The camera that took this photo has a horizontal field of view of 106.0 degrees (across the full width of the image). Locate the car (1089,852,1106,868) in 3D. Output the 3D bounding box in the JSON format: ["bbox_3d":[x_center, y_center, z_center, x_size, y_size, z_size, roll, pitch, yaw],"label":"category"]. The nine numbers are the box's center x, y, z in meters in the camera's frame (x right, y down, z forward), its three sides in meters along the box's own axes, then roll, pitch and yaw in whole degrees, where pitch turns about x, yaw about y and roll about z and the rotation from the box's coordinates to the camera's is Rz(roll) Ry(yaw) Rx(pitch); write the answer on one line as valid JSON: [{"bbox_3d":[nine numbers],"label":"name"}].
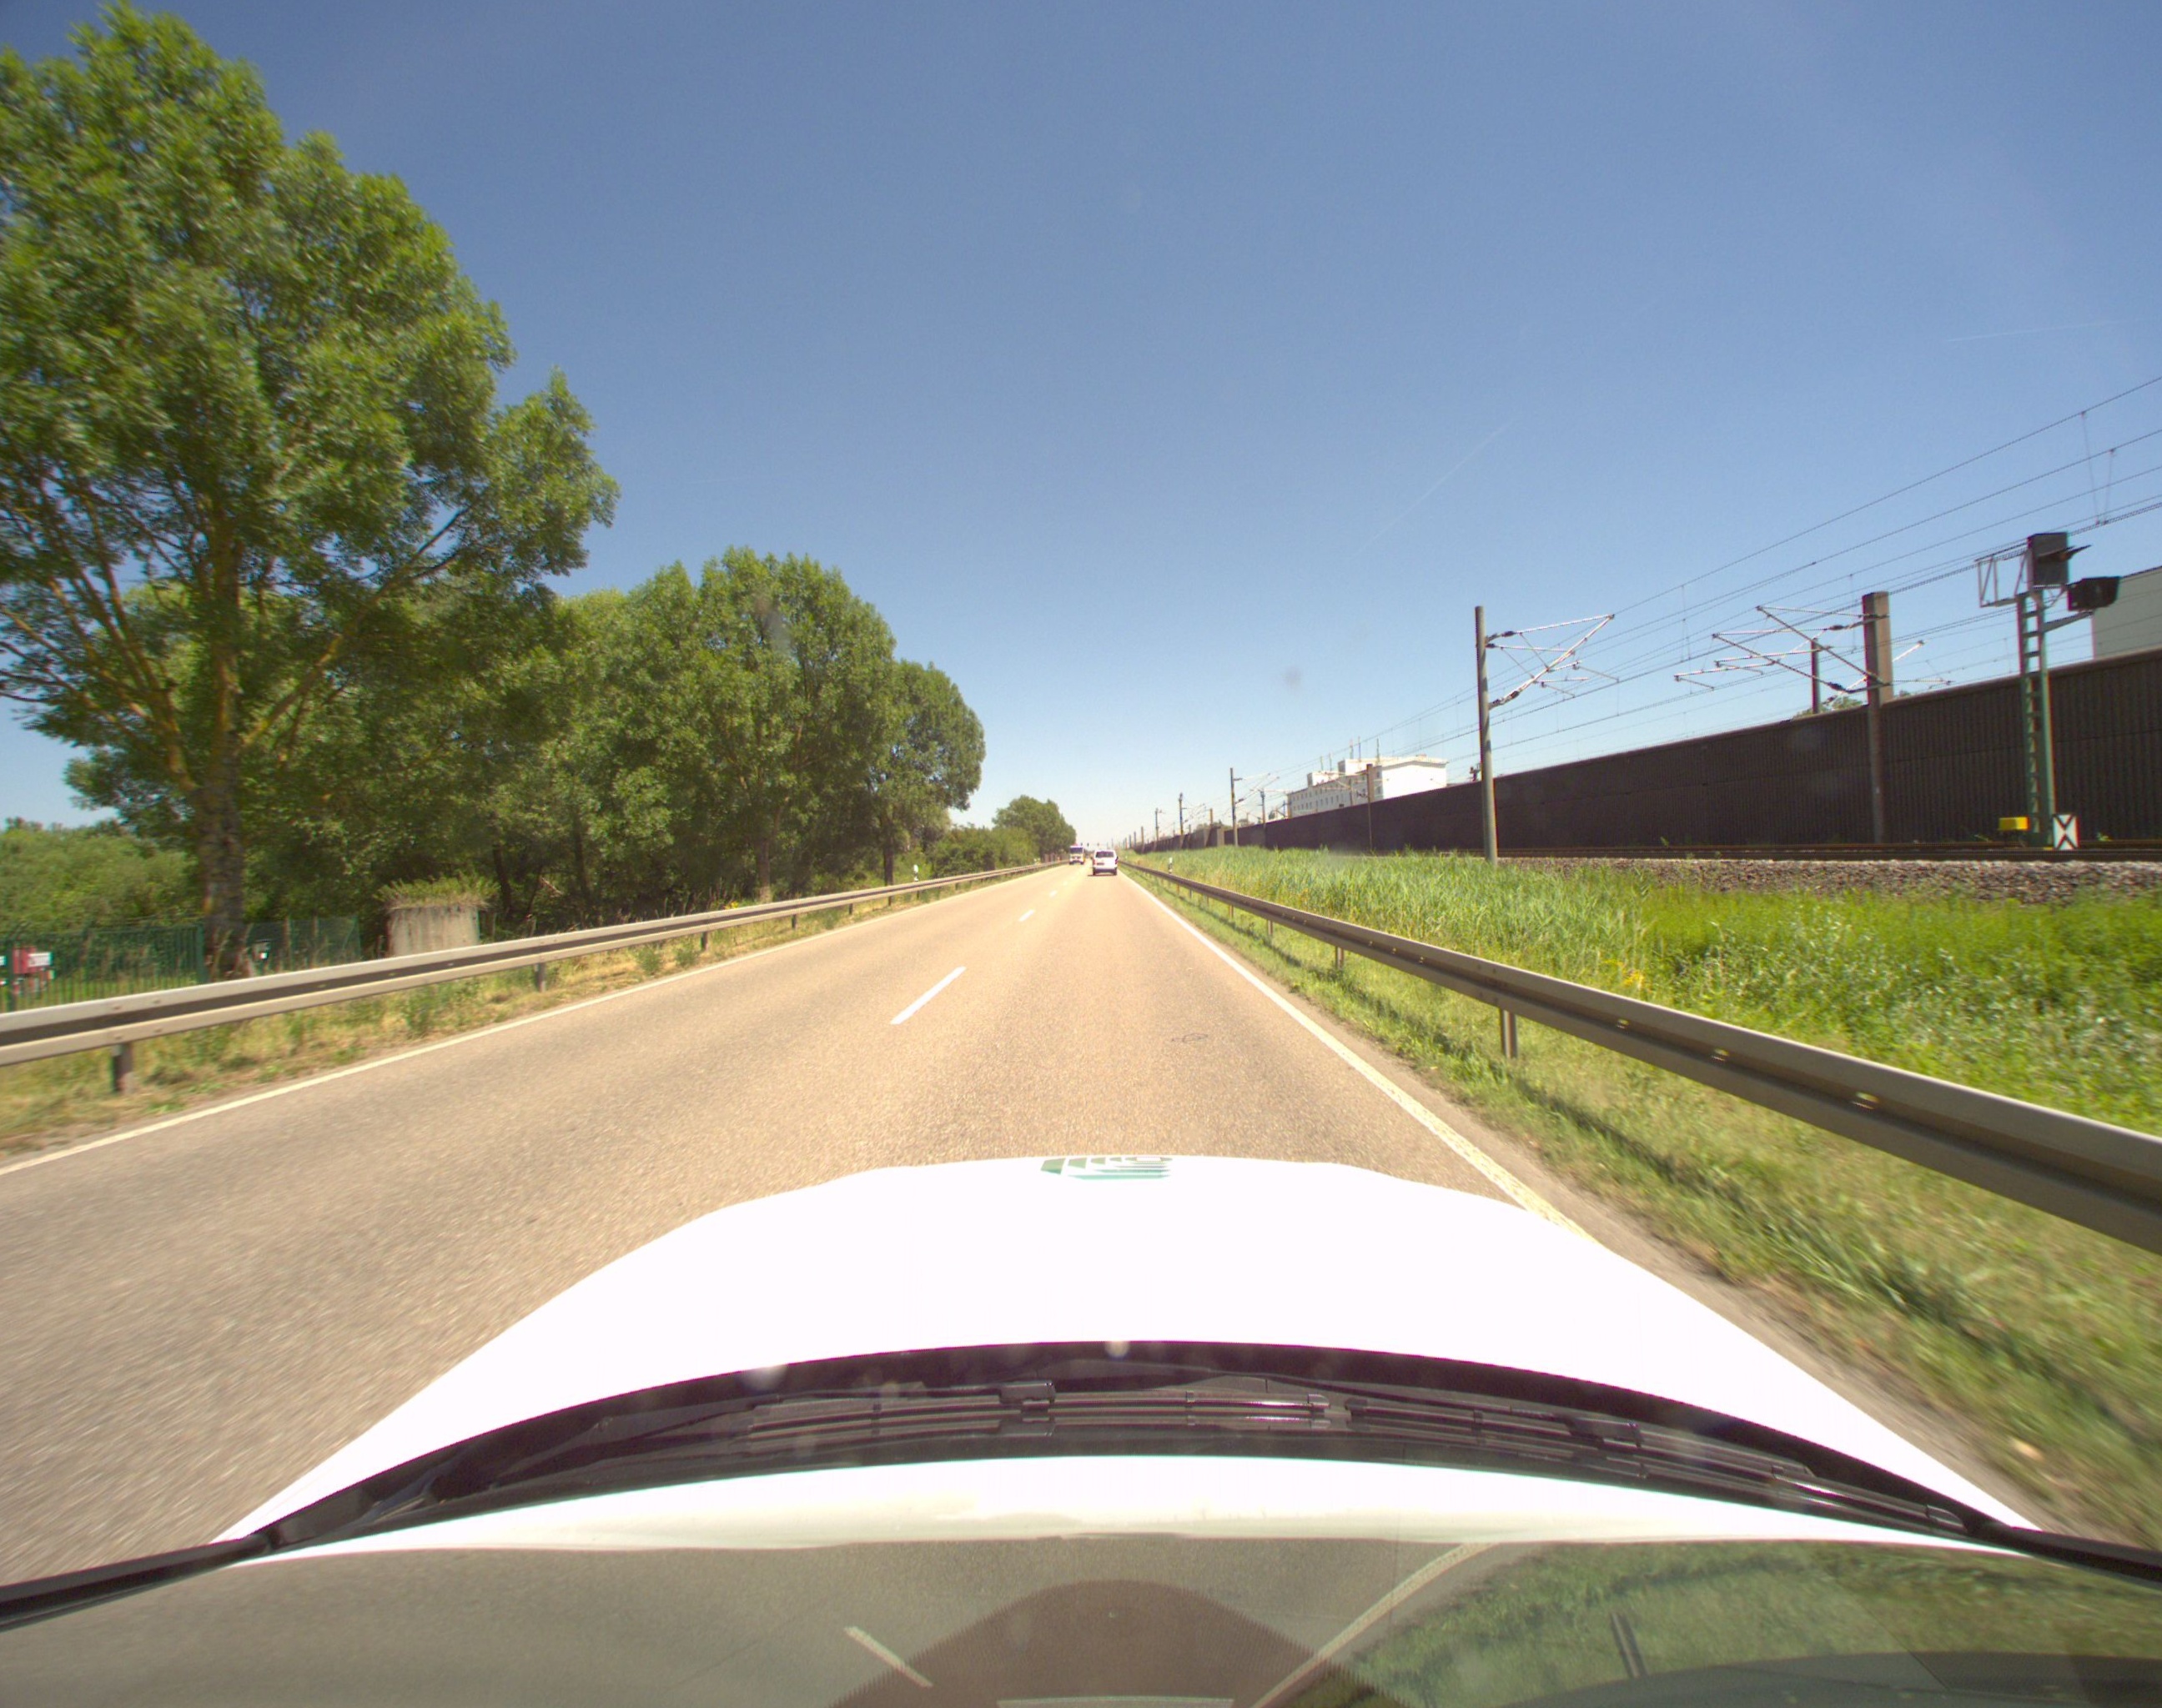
[{"bbox_3d":[2.068,0.692,99.404,1.986,1.850,4.001,-1,0,1],"label":"car"}]

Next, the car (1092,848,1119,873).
[{"bbox_3d":[1.846,0.497,62.099,1.986,1.850,4.001,-1,0,1],"label":"car"}]

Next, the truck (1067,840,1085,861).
[{"bbox_3d":[-0.837,-0.538,138.946,2.774,3.405,7.990,-1,0,1],"label":"truck"}]
